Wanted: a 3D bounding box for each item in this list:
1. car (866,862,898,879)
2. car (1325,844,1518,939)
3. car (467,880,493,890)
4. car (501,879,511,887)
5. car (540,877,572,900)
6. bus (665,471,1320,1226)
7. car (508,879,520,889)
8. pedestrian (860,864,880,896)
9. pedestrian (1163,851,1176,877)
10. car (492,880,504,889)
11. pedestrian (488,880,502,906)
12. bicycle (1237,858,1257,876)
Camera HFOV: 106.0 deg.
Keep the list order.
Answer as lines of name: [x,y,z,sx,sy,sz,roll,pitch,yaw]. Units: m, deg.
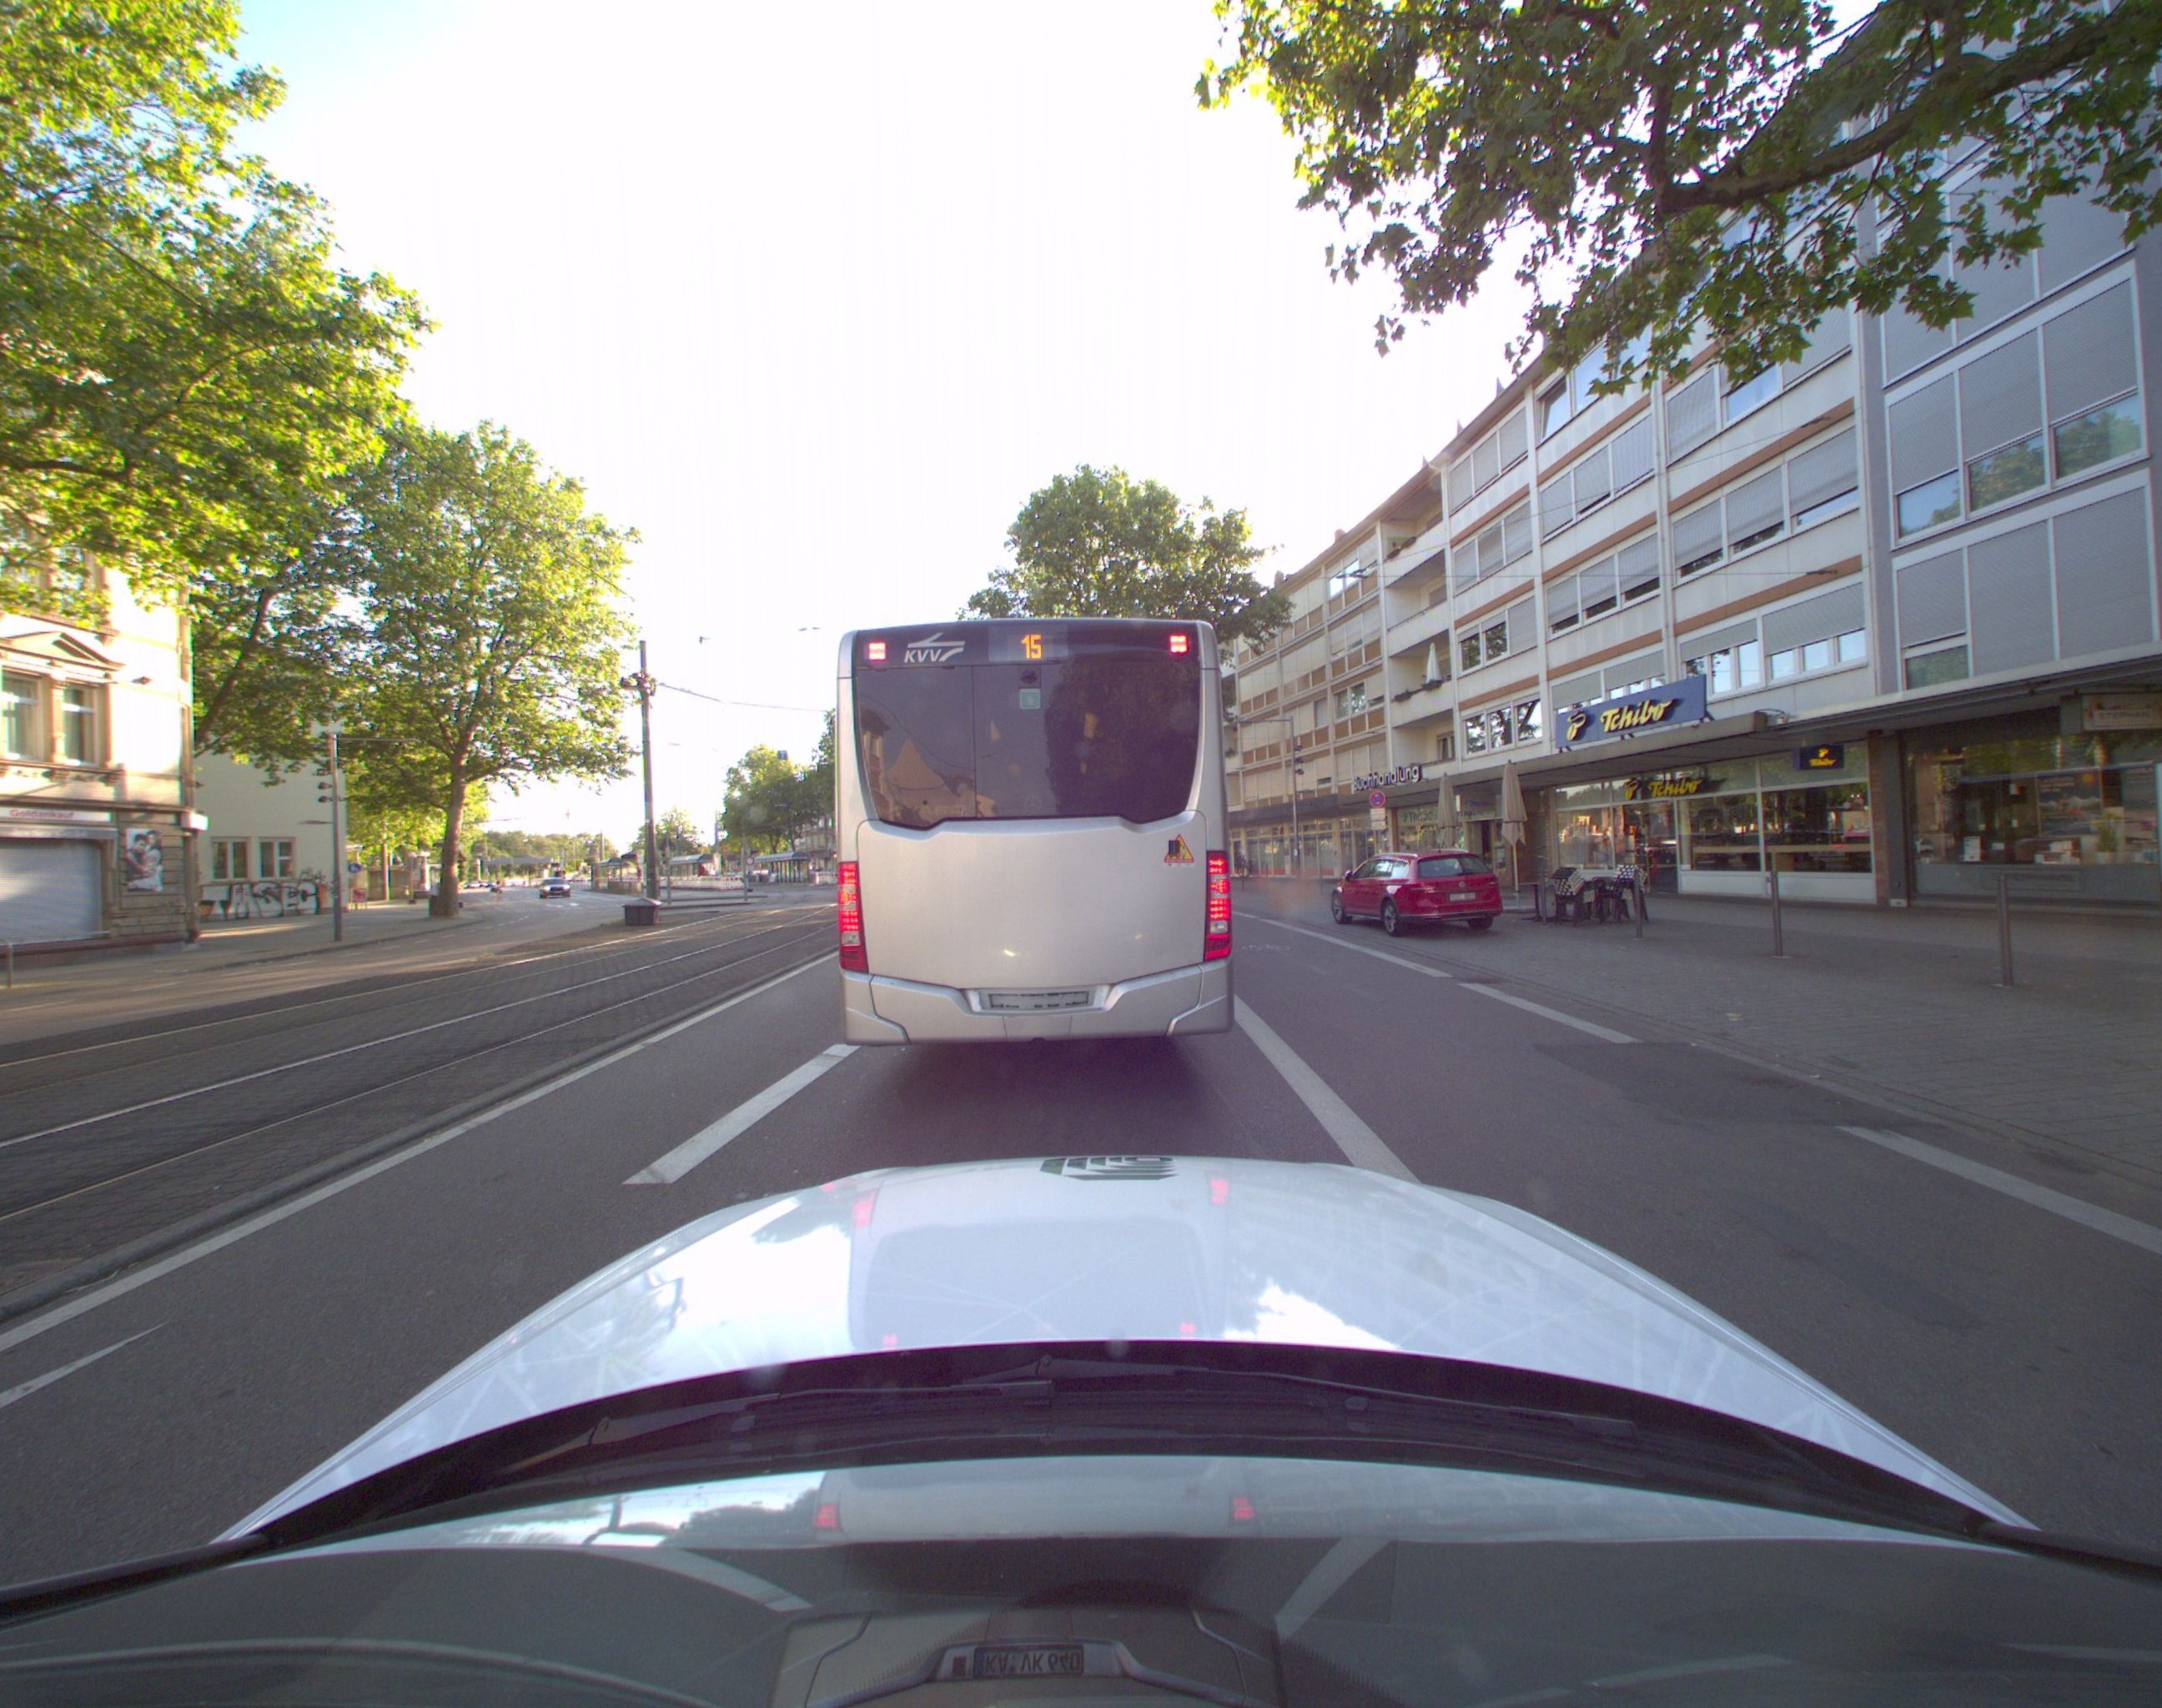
car: [-21.747,1.783,88.940,2.010,1.792,3.954,0,-1,-39]
car: [6.364,0.639,15.823,1.765,1.482,4.300,-3,0,-2]
car: [-122.659,6.323,166.142,1.768,1.640,4.024,-3,-1,44]
car: [-130.084,6.472,184.197,1.858,1.684,3.676,-2,-1,-35]
car: [-40.462,2.635,62.815,2.008,1.640,3.958,-2,-1,-33]
bus: [-0.220,0.007,8.310,2.621,3.028,10.000,-1,0,2]
car: [-111.439,5.898,160.017,1.858,1.684,3.677,-4,1,-35]
pedestrian: [-11.435,1.407,44.155,0.994,1.686,0.642,-1,-2,-10]
pedestrian: [5.798,0.650,53.379,0.536,1.648,0.612,-2,-1,-15]
car: [-117.821,6.086,164.678,1.858,1.684,3.676,-2,-1,-35]
pedestrian: [-37.981,2.544,52.794,0.661,1.656,0.438,-2,-1,-41]
bicycle: [9.254,0.719,45.547,0.413,0.945,1.431,-2,-1,-18]
